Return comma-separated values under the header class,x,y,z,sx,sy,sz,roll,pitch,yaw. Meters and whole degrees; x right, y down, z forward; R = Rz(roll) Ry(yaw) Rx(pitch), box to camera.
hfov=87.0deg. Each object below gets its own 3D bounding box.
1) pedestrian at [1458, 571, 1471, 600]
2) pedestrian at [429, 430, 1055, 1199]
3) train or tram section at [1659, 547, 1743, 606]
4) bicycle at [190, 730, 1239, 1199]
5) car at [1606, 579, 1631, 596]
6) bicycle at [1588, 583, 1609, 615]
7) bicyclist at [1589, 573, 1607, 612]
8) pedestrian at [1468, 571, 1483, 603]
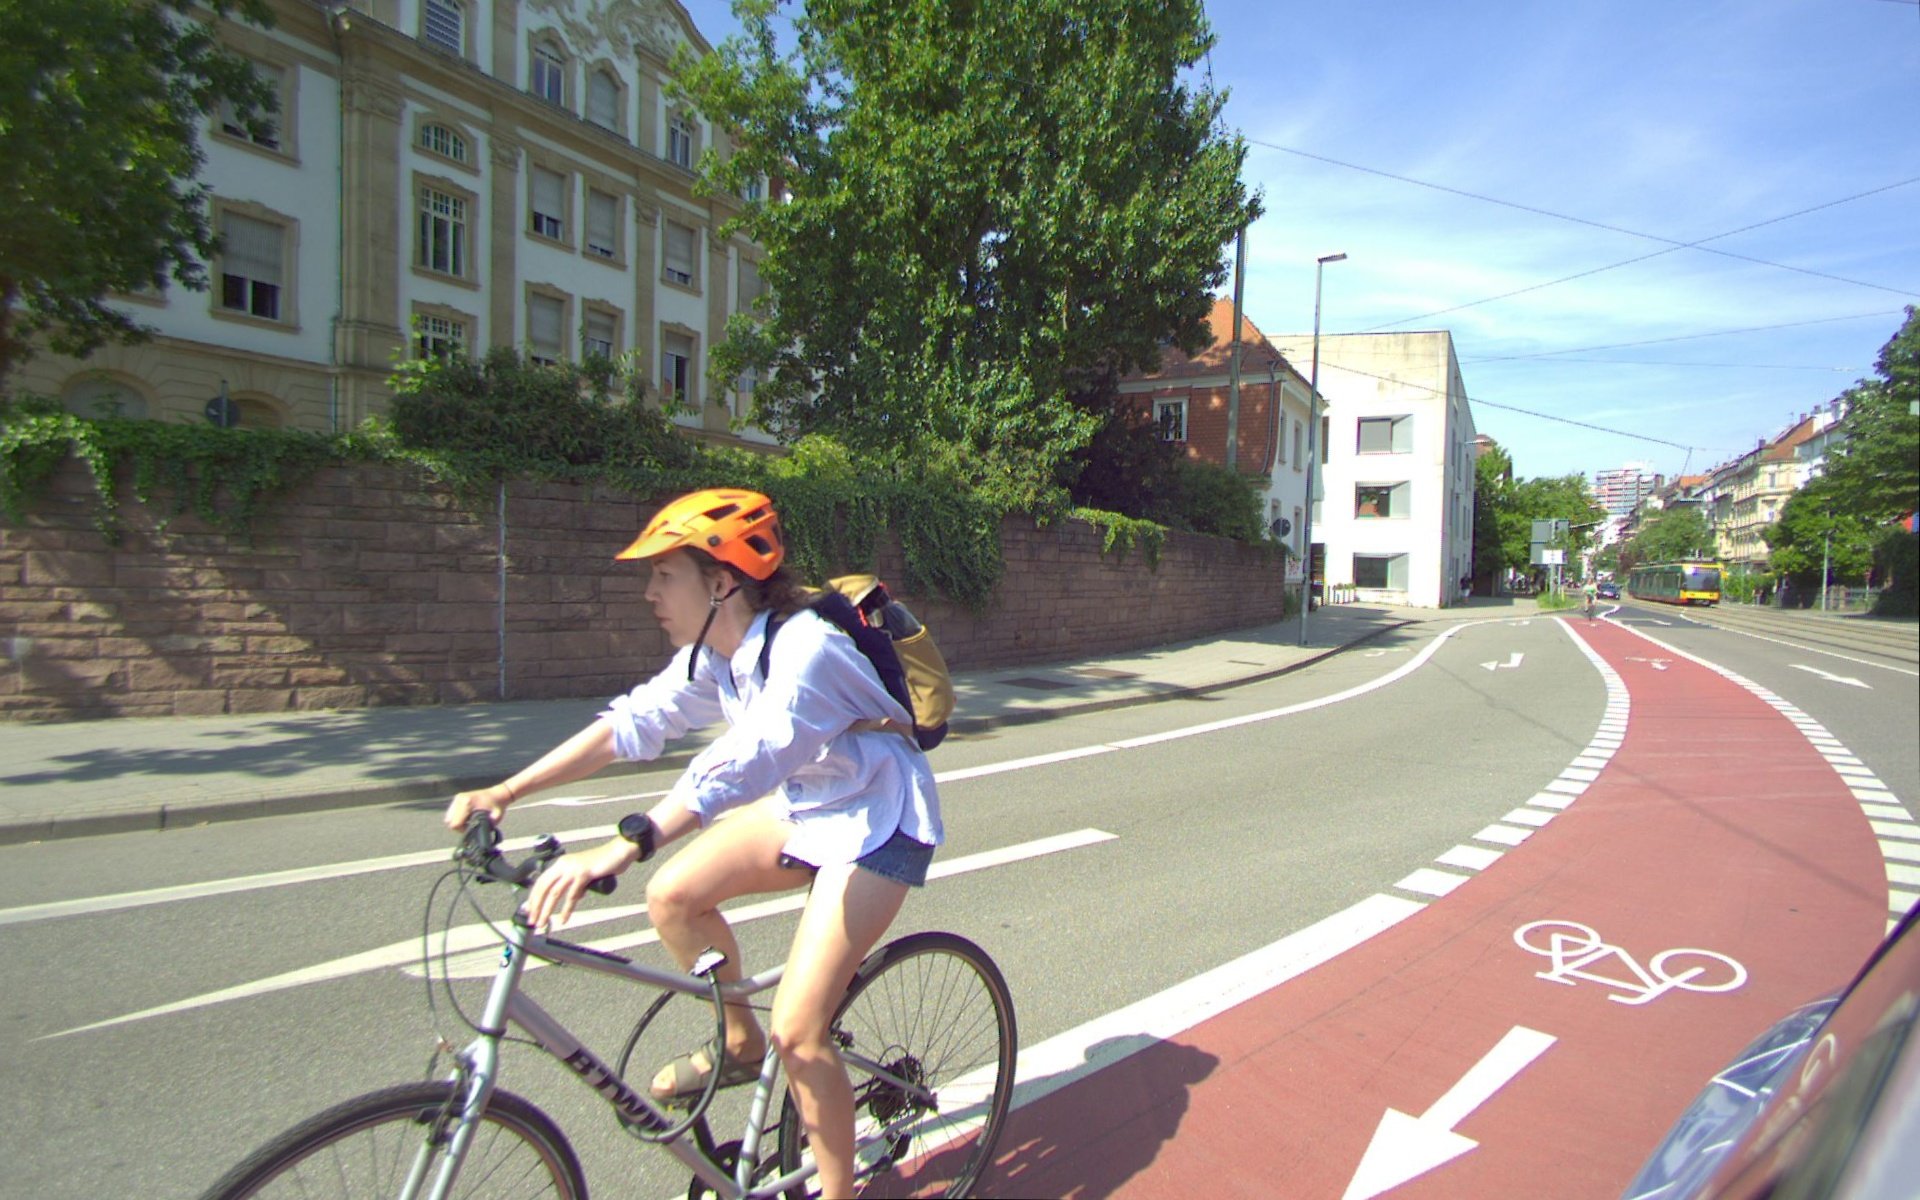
class,x,y,z,sx,sy,sz,roll,pitch,yaw
pedestrian,27.648,-0.795,55.502,0.545,1.587,0.922,2,2,29
pedestrian,-0.381,0.506,1.913,0.996,1.484,0.584,0,1,-41
train or tram section,54.763,-1.765,75.163,3.189,3.908,14.436,3,2,29
bicycle,-0.273,0.854,2.026,1.993,0.943,0.597,0,1,-41
car,59.395,-1.126,91.258,1.791,1.393,4.225,3,3,34
bicycle,26.246,-0.059,41.616,0.681,1.237,2.162,2,2,32
bicyclist,26.134,-0.312,41.445,0.584,1.567,0.921,0,0,33
pedestrian,28.163,-0.718,55.321,0.645,1.728,0.704,2,2,29
